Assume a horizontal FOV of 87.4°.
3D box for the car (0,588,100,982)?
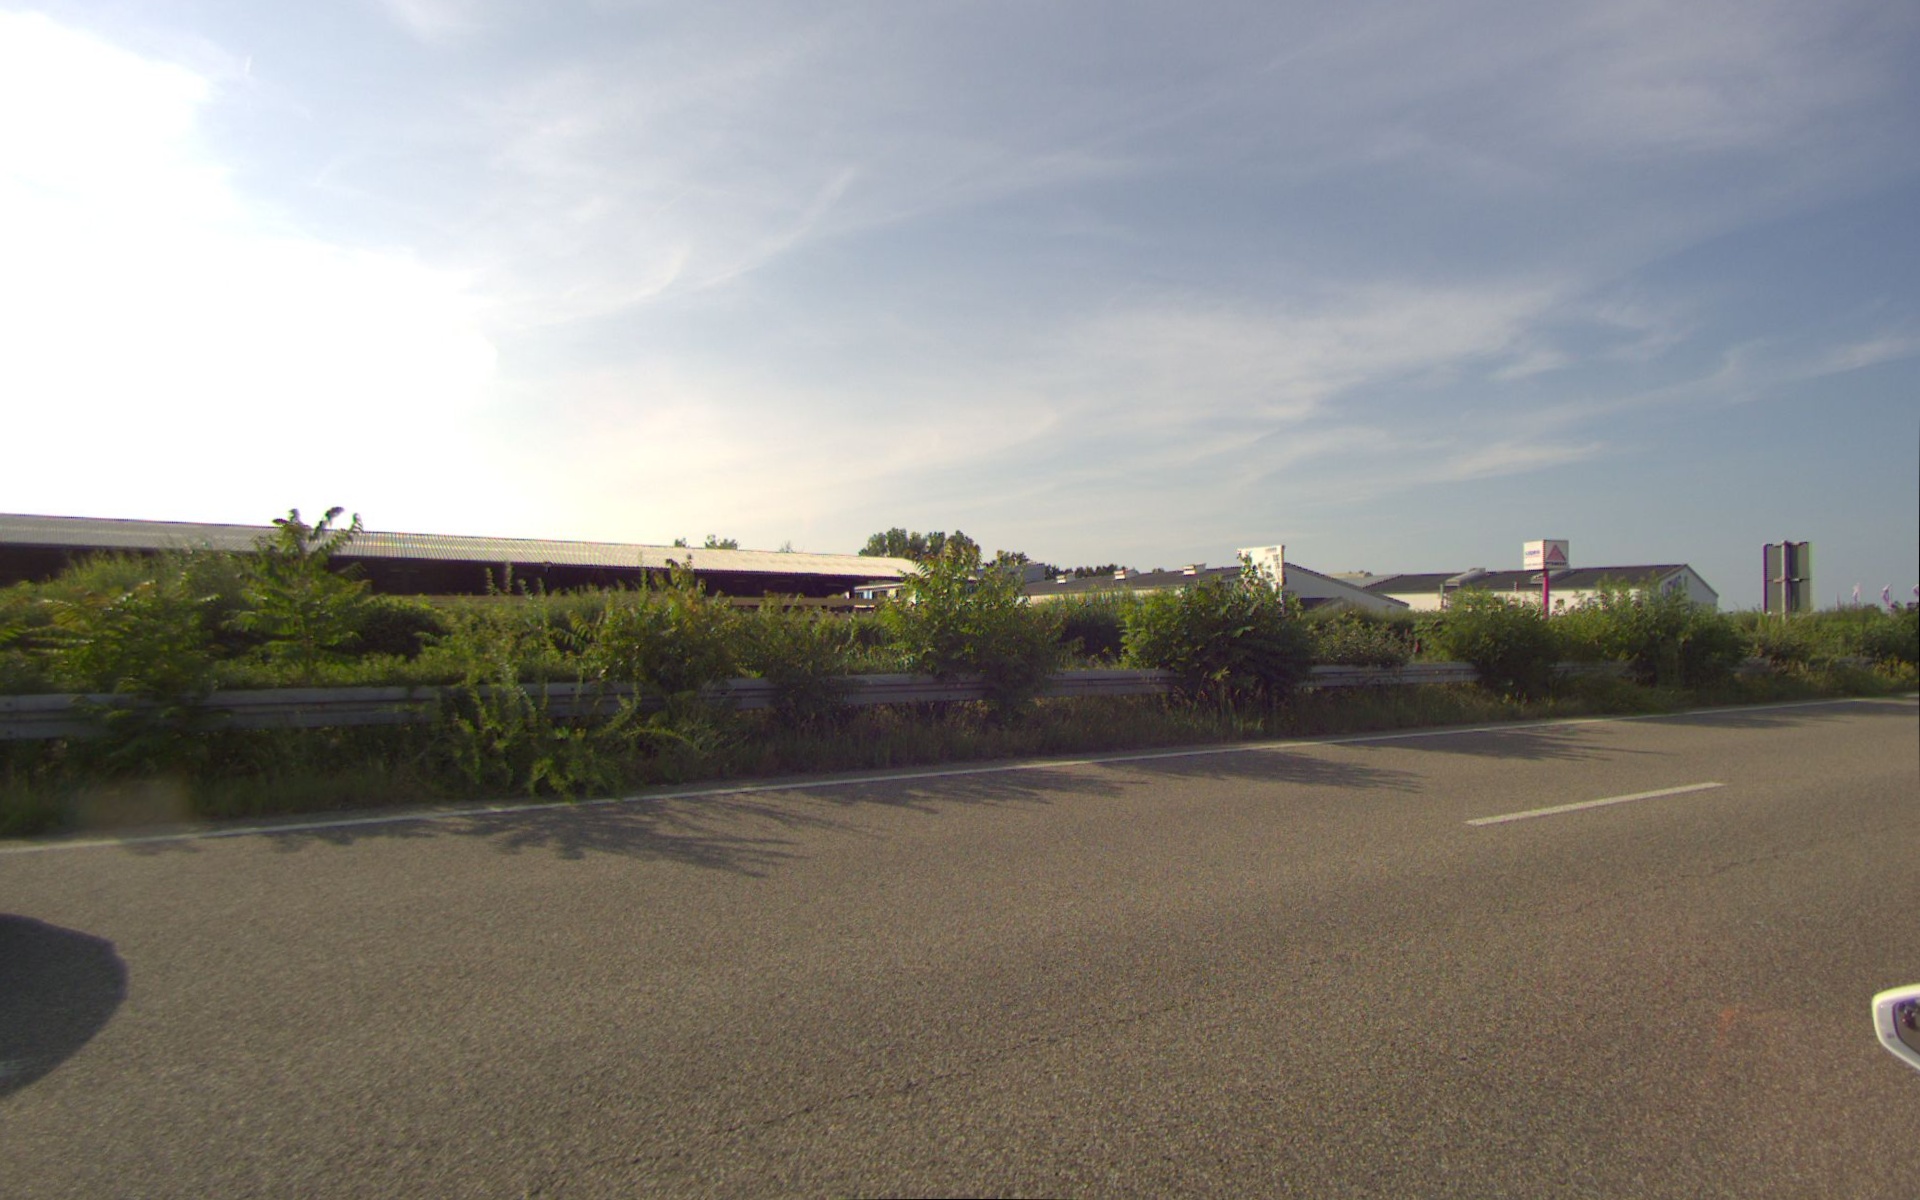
[{"bbox_3d":[-5.966,0.668,3.141,4.721,1.490,1.638,1,-1,-31],"label":"car"}]
